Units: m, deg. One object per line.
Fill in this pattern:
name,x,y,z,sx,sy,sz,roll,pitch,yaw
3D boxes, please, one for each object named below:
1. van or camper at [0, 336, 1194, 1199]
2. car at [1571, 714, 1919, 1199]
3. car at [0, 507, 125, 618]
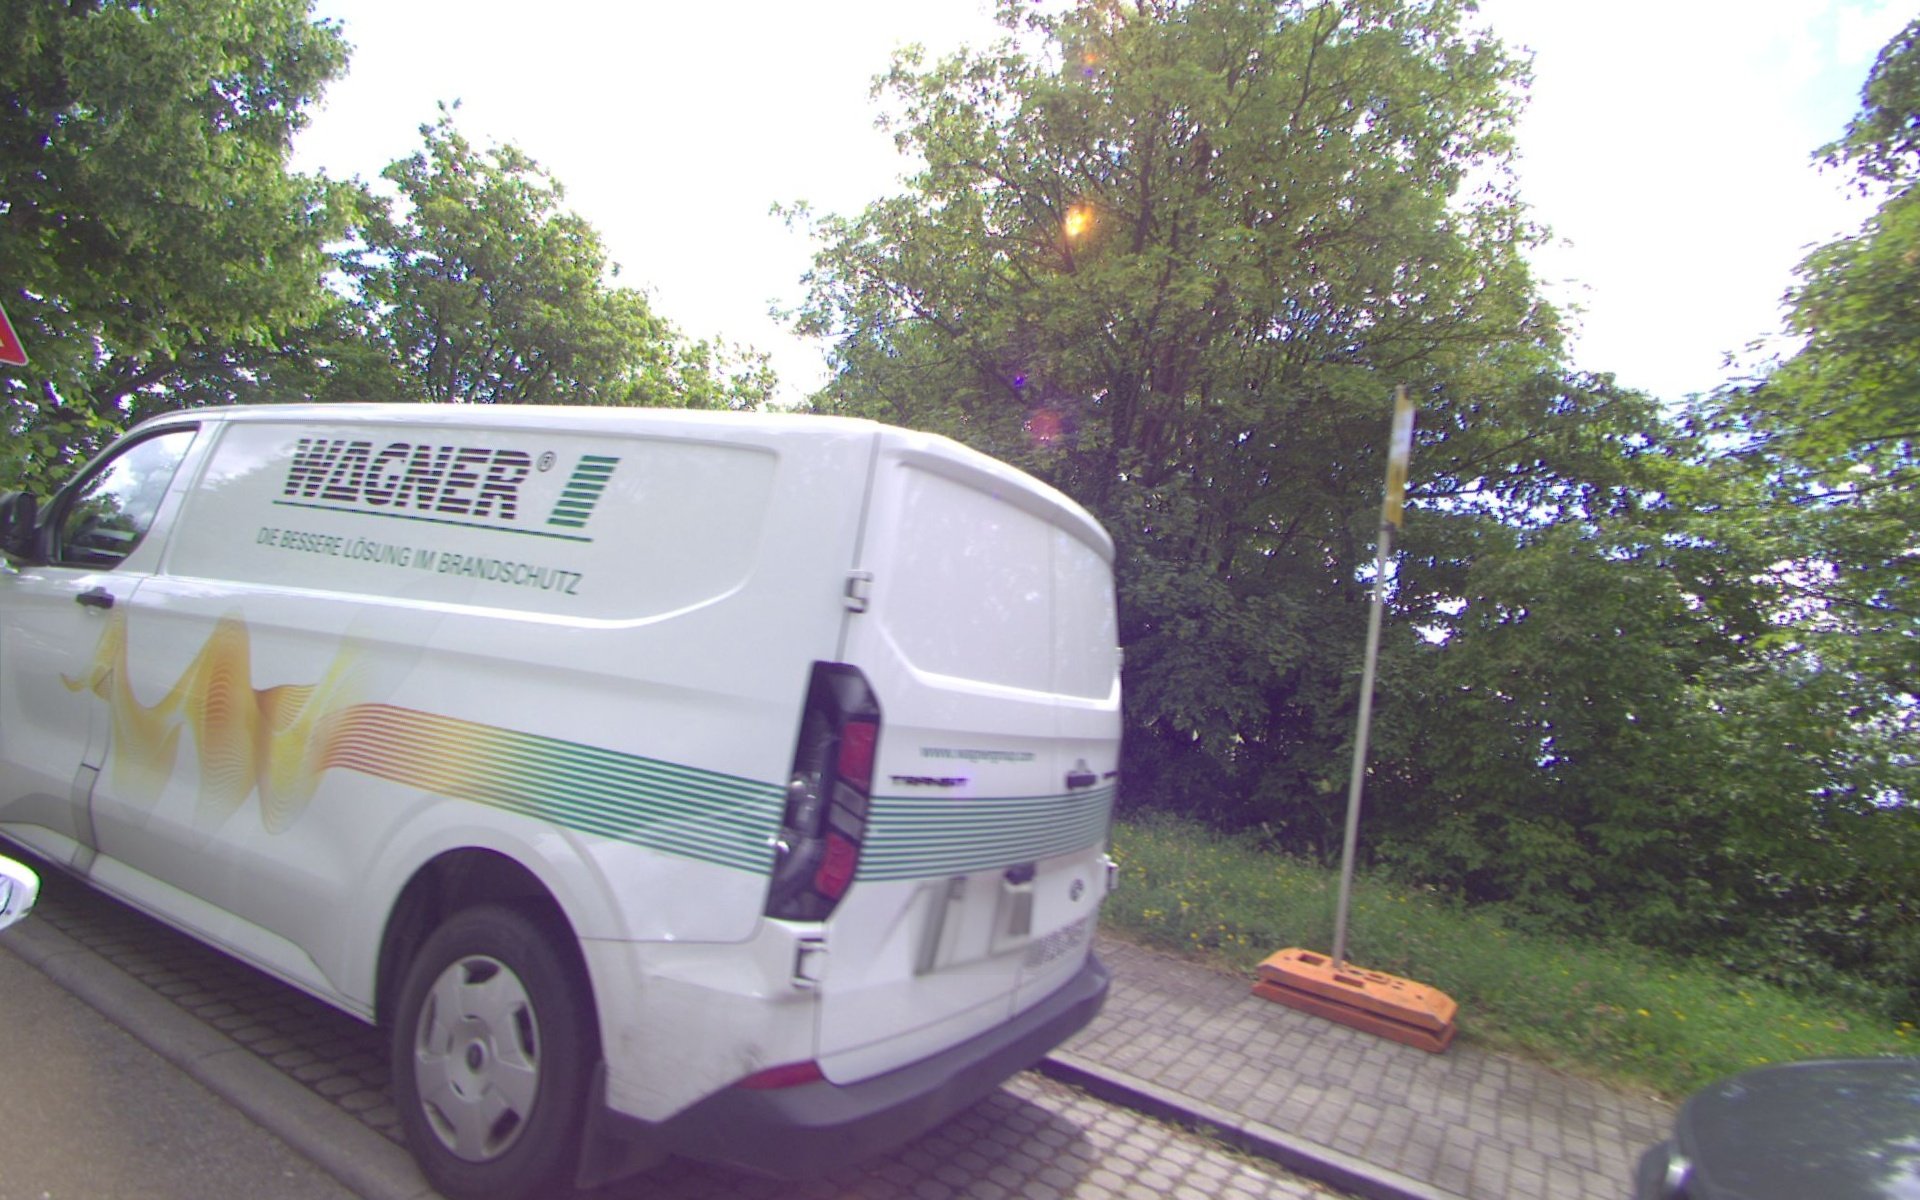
van or camper,-2.016,0.330,3.920,5.175,1.940,2.001,7,-4,29
car,2.992,1.198,1.041,3.934,1.478,1.804,6,-6,32
car,-16.071,-0.858,16.161,1.752,1.494,3.551,8,-6,32
